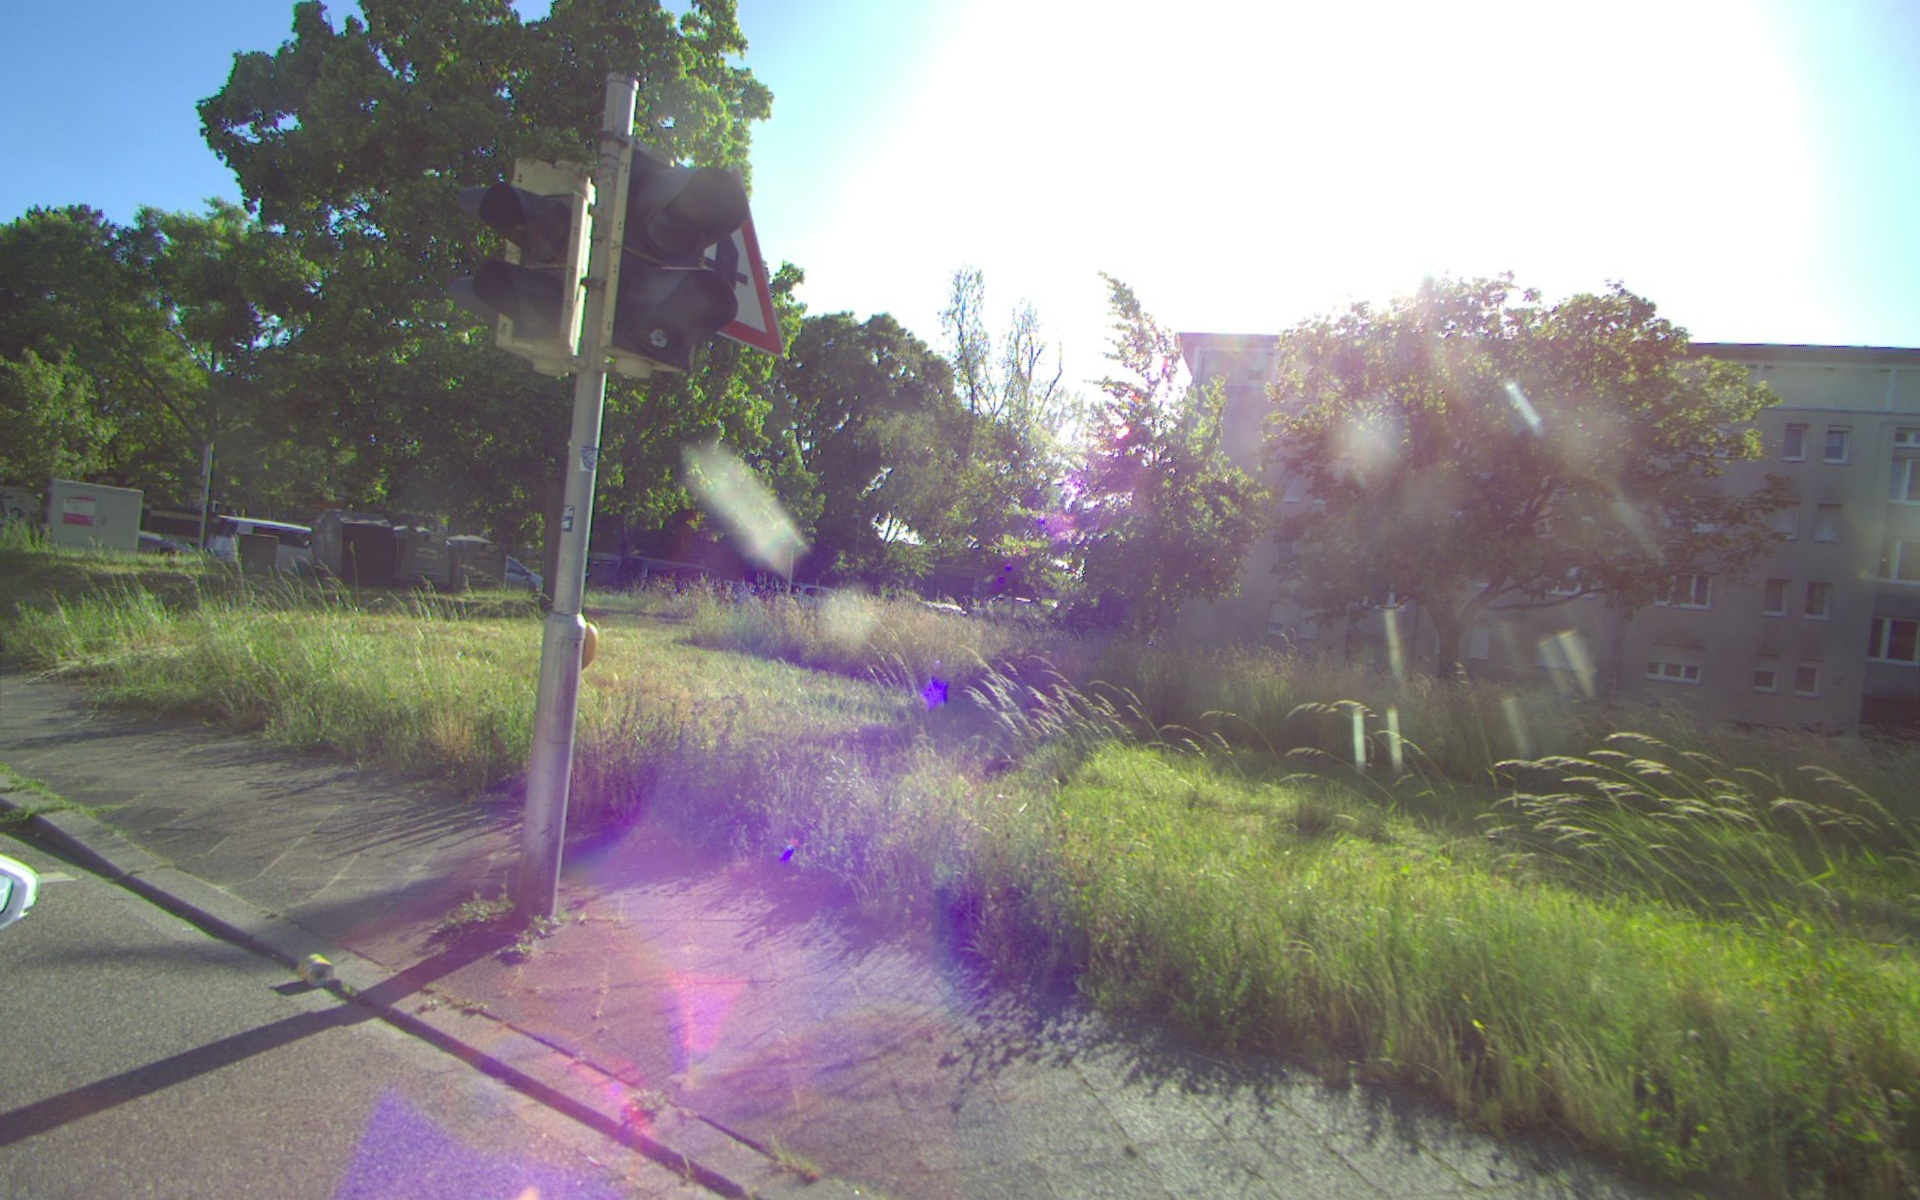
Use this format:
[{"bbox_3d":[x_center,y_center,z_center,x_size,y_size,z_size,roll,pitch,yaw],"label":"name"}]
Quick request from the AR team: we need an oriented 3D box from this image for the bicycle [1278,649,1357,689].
[{"bbox_3d":[14.059,2.700,39.627,2.645,1.220,0.941,7,1,4],"label":"bicycle"}]

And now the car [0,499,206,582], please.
[{"bbox_3d":[-20.559,-1.410,23.396,1.718,1.353,4.428,9,0,35],"label":"car"}]

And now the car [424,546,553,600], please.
[{"bbox_3d":[-17.389,-0.964,37.228,1.758,1.414,3.868,9,1,34],"label":"car"}]

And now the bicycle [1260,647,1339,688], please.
[{"bbox_3d":[13.075,2.588,38.825,2.645,1.220,0.941,7,1,4],"label":"bicycle"}]

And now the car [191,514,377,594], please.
[{"bbox_3d":[-18.068,-1.202,27.022,1.801,1.597,3.683,7,0,38],"label":"car"}]

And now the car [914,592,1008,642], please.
[{"bbox_3d":[0.095,0.879,50.537,2.136,2.037,4.496,7,0,42],"label":"car"}]

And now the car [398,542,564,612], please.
[{"bbox_3d":[-14.754,-0.672,31.181,1.943,1.560,4.103,8,0,36],"label":"car"}]

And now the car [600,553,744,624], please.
[{"bbox_3d":[-10.535,-0.369,37.089,2.240,2.037,4.501,7,0,39],"label":"car"}]

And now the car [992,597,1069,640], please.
[{"bbox_3d":[4.624,1.228,64.978,2.235,2.290,5.054,6,0,40],"label":"car"}]

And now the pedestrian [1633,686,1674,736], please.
[{"bbox_3d":[22.400,3.586,32.519,0.753,1.475,0.757,7,1,16],"label":"pedestrian"}]

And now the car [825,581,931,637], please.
[{"bbox_3d":[-3.696,0.440,45.928,2.134,2.037,4.501,7,0,39],"label":"car"}]

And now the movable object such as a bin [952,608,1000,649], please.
[{"bbox_3d":[0.687,1.202,42.500,1.508,1.527,1.392,6,0,18],"label":"movable object such as a bin"}]

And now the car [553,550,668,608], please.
[{"bbox_3d":[-14.396,-0.831,41.583,1.972,1.874,3.861,7,0,41],"label":"car"}]

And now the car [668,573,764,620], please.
[{"bbox_3d":[-11.135,-0.139,46.088,1.967,1.631,3.870,7,0,33],"label":"car"}]

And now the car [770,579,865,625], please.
[{"bbox_3d":[-7.081,0.131,50.415,1.970,1.830,4.450,7,0,38],"label":"car"}]
